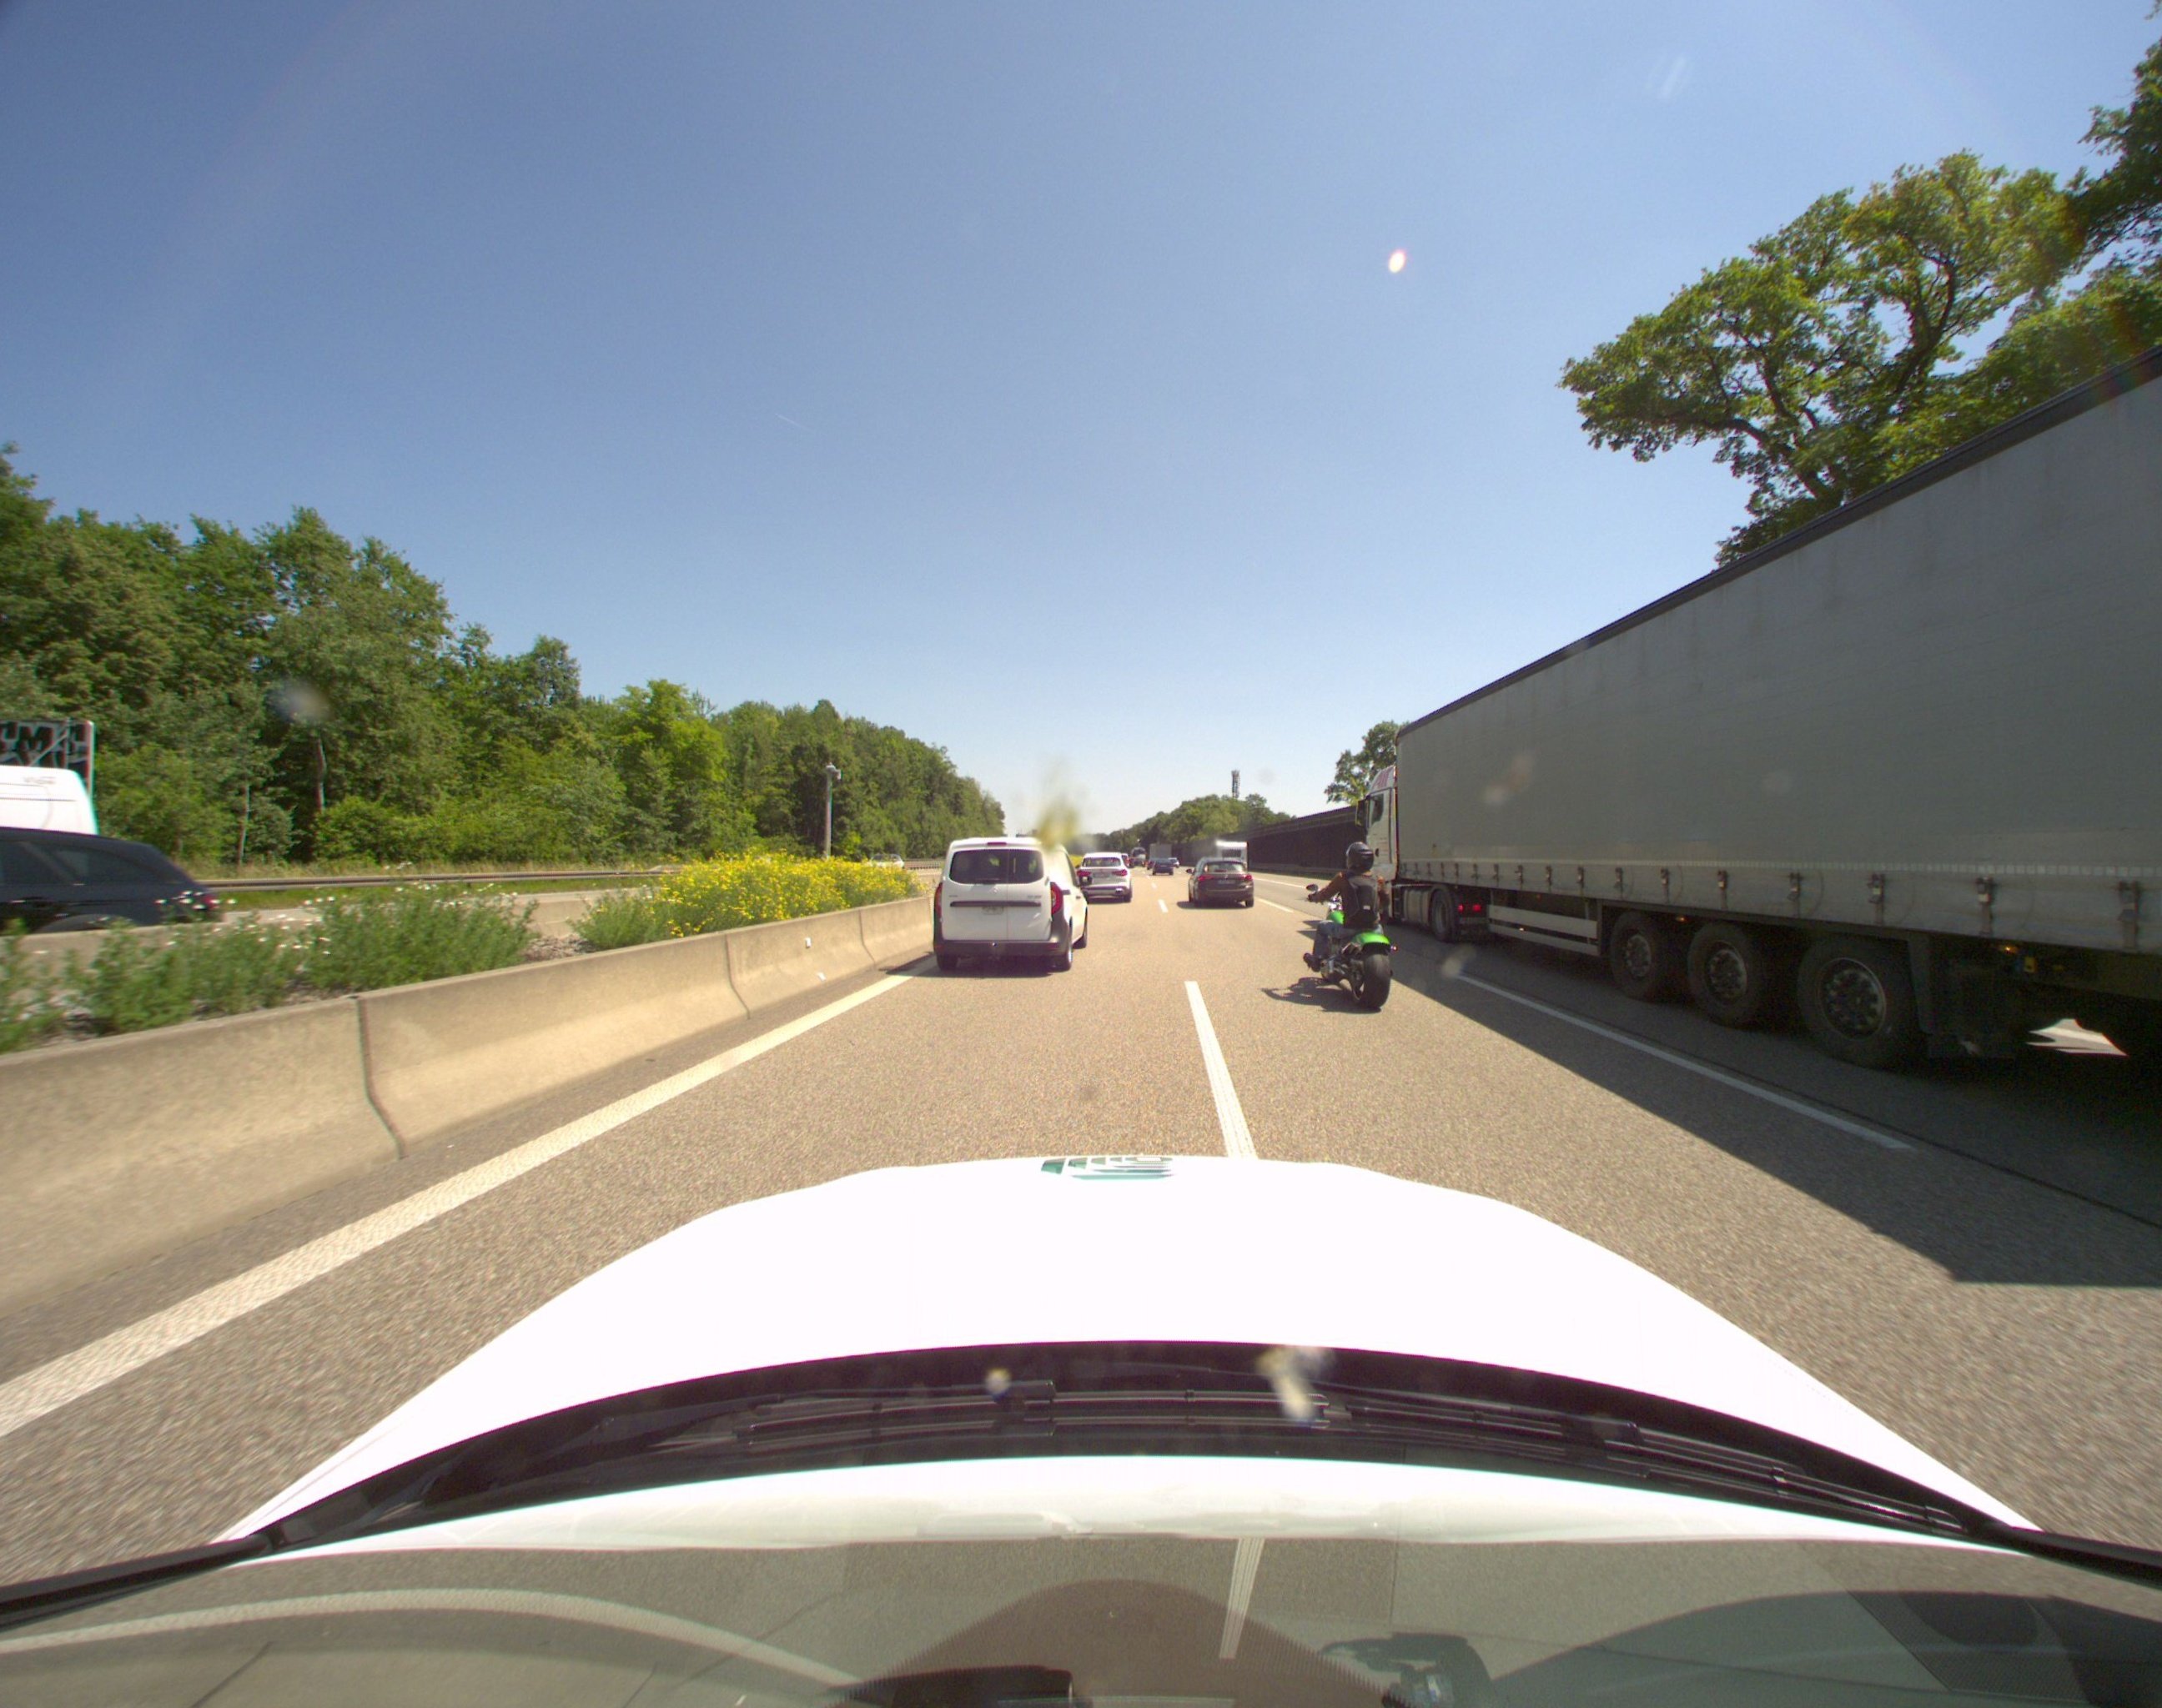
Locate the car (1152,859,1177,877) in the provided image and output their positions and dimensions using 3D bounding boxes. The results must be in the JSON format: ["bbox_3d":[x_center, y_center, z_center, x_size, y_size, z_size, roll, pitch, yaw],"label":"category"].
[{"bbox_3d":[6.867,1.160,67.209,1.984,1.430,3.852,0,-1,5],"label":"car"}]

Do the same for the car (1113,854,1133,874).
[{"bbox_3d":[4.095,0.963,78.893,1.891,1.874,4.416,0,-1,3],"label":"car"}]

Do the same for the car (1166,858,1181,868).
[{"bbox_3d":[13.794,1.366,121.953,1.985,1.574,4.003,0,-1,3],"label":"car"}]

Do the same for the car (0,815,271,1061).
[{"bbox_3d":[-8.500,0.573,5.134,1.915,1.709,4.632,0,-1,4],"label":"car"}]

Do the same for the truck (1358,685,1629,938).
[{"bbox_3d":[7.798,-0.678,16.426,2.872,4.146,5.994,0,0,5],"label":"truck"}]

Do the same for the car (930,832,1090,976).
[{"bbox_3d":[-0.877,0.645,12.604,1.757,1.813,4.678,0,0,4],"label":"car"}]

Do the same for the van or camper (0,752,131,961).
[{"bbox_3d":[-15.164,0.030,8.890,2.075,2.701,6.159,0,0,4],"label":"van or camper"}]

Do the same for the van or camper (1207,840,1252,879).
[{"bbox_3d":[11.373,0.473,62.919,2.673,2.813,6.810,0,-1,4],"label":"van or camper"}]

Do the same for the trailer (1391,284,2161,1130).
[{"bbox_3d":[7.139,-0.681,9.648,2.872,4.038,13.814,0,0,5],"label":"trailer"}]

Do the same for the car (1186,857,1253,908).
[{"bbox_3d":[4.195,0.853,25.147,1.655,1.453,3.872,0,-1,3],"label":"car"}]

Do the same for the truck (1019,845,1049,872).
[{"bbox_3d":[-3.954,0.378,69.239,1.829,2.226,6.201,0,0,3],"label":"truck"}]

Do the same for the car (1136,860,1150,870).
[{"bbox_3d":[10.263,1.877,135.196,1.987,1.640,4.000,0,-1,1],"label":"car"}]

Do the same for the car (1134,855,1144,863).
[{"bbox_3d":[13.989,1.315,196.155,2.100,1.876,4.001,0,-1,1],"label":"car"}]

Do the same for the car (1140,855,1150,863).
[{"bbox_3d":[15.020,1.191,190.738,2.101,1.876,3.999,0,-1,0],"label":"car"}]

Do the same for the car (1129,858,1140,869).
[{"bbox_3d":[10.751,1.943,163.914,1.904,2.014,3.691,0,-1,1],"label":"car"}]

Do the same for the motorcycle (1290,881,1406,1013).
[{"bbox_3d":[2.889,0.921,9.131,0.958,1.148,2.821,0,0,12],"label":"motorcycle"}]

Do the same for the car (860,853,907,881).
[{"bbox_3d":[-12.344,0.779,51.159,1.788,1.708,4.150,0,0,3],"label":"car"}]

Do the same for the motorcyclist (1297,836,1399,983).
[{"bbox_3d":[2.942,0.577,9.158,0.893,1.475,1.878,0,-1,12],"label":"motorcyclist"}]

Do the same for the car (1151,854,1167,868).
[{"bbox_3d":[9.411,0.835,98.724,1.772,1.552,3.587,0,0,2],"label":"car"}]

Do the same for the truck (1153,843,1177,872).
[{"bbox_3d":[14.573,0.731,142.232,3.787,4.960,8.956,0,-1,3],"label":"truck"}]

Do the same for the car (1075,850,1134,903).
[{"bbox_3d":[0.917,0.729,28.693,1.856,1.694,4.961,0,0,4],"label":"car"}]
